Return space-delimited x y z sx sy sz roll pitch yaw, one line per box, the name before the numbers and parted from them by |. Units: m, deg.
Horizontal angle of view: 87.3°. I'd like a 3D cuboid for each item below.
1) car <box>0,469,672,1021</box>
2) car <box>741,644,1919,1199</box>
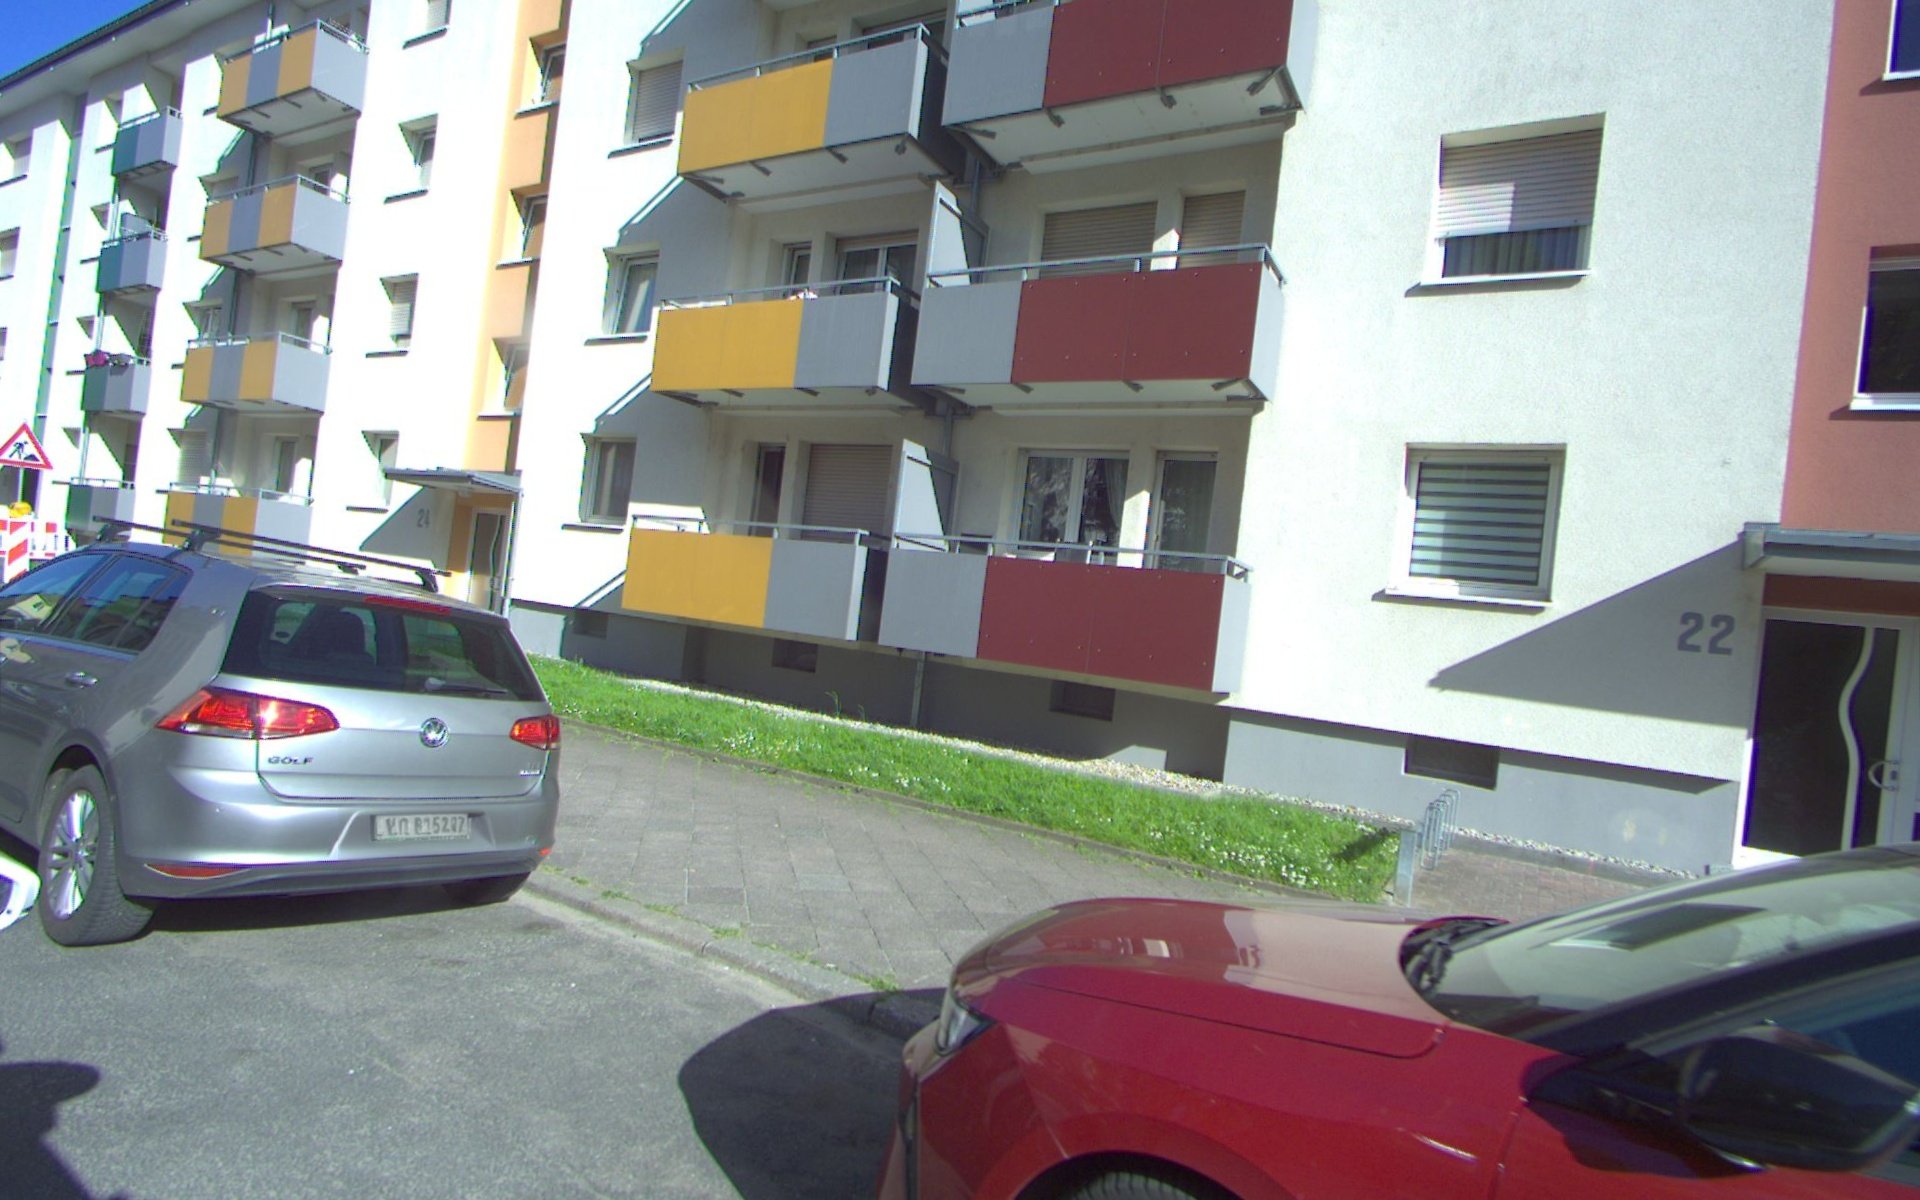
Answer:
car | -3.870 0.393 4.988 4.524 1.638 1.906 5 -5 30
car | 1.914 1.082 1.642 4.449 1.460 1.755 5 -3 33
